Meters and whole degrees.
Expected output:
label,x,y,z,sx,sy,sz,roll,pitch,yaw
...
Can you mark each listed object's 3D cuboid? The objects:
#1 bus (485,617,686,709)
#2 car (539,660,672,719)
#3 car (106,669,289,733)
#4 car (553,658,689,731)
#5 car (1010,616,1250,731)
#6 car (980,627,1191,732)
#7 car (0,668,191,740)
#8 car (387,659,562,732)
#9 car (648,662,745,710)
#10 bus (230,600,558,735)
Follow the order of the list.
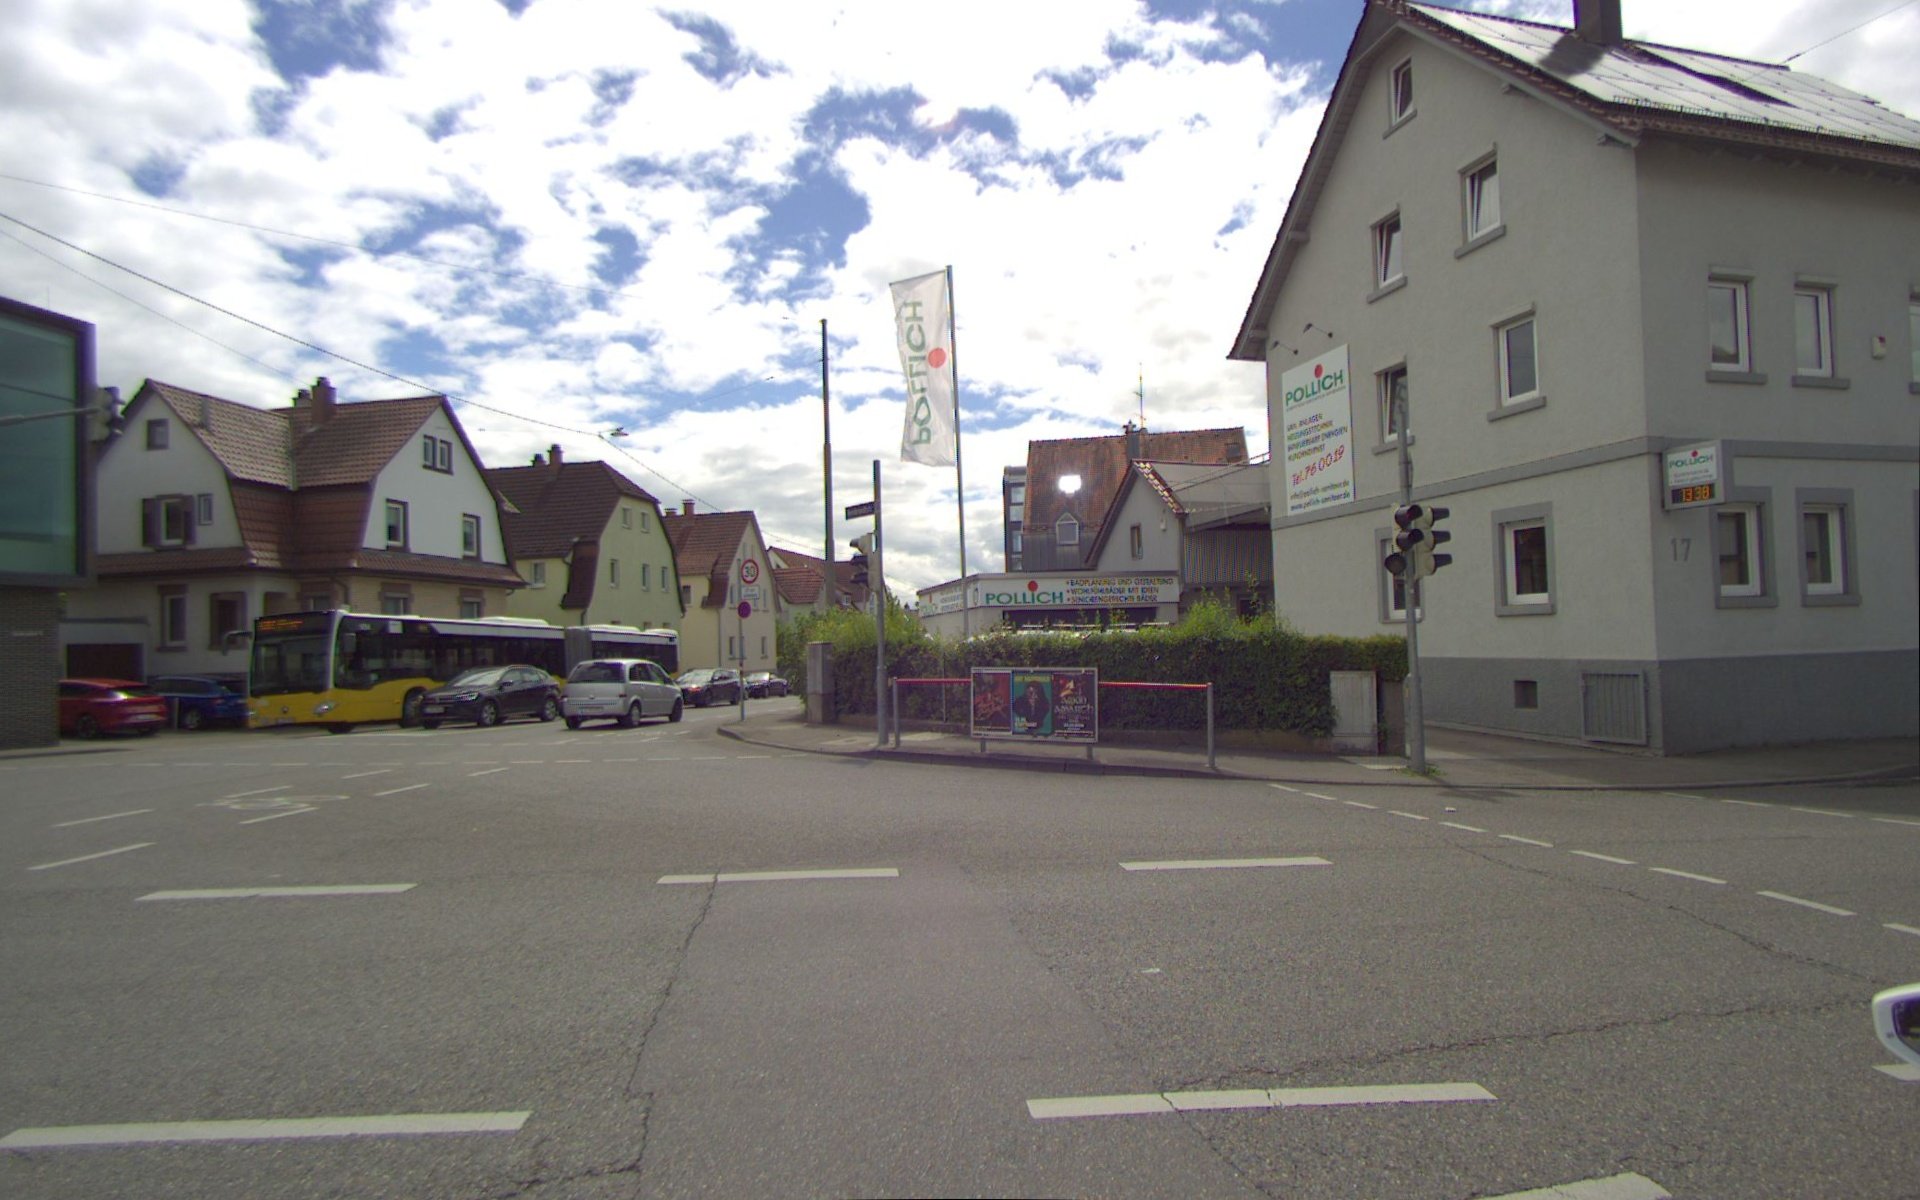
label,x,y,z,sx,sy,sz,roll,pitch,yaw
bus,-13.396,2.281,37.112,2.730,2.952,9.200,-1,-3,10
car,-10.750,2.683,30.786,1.959,1.661,4.187,-1,-3,11
car,-22.142,2.894,29.259,3.919,1.706,2.002,0,-3,7
car,-8.248,2.270,24.832,1.739,1.596,4.004,-1,-3,4
car,3.119,1.341,18.760,3.933,1.973,1.995,0,-3,-15
car,2.588,1.619,21.114,3.932,2.040,1.995,0,-3,-14
car,-22.827,2.680,26.311,3.919,1.661,2.002,1,-3,8
car,-12.161,2.363,25.478,1.959,1.661,4.004,-1,-3,11
car,-9.798,3.187,37.656,1.959,1.661,4.004,-1,-3,11
bus,-15.054,1.824,27.980,2.730,3.100,9.200,-1,-3,10
